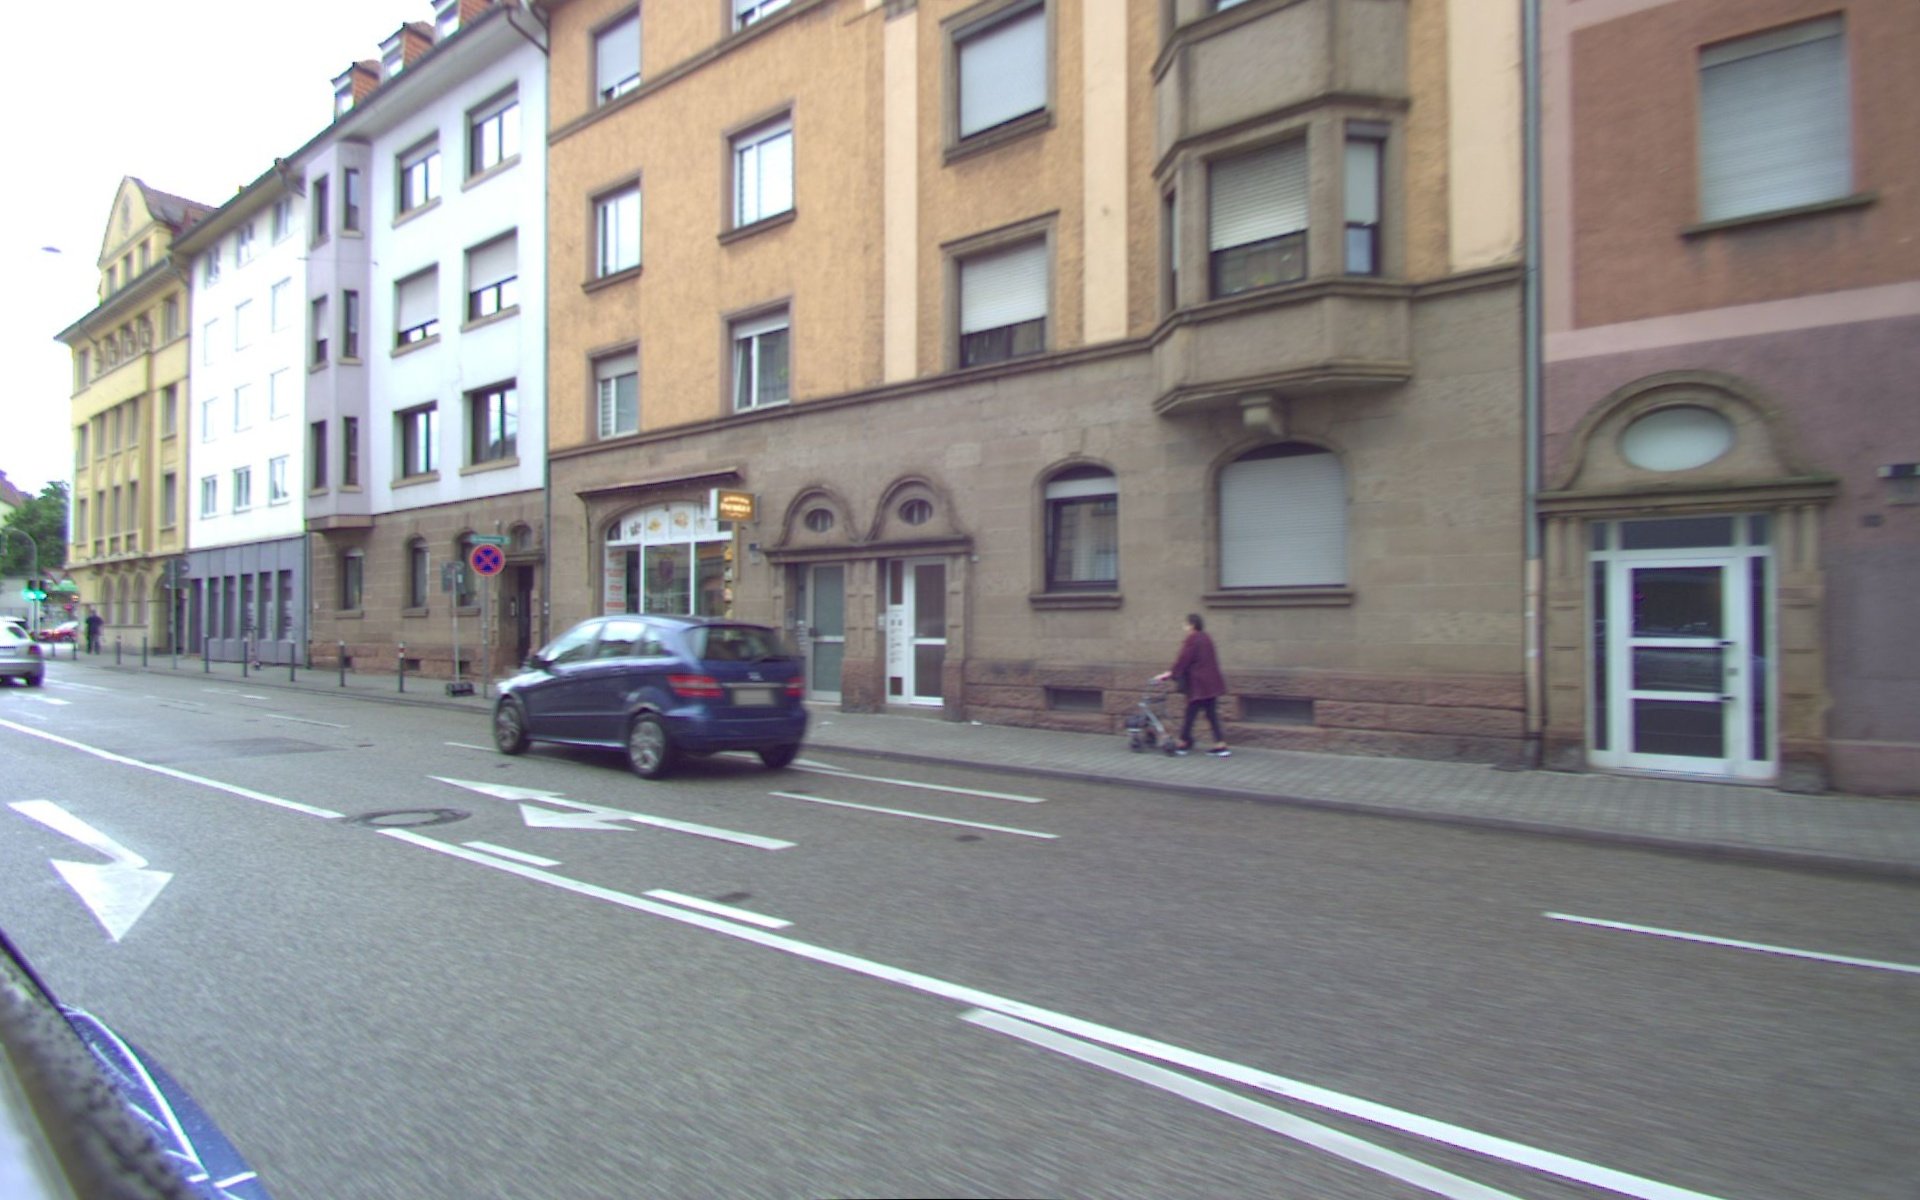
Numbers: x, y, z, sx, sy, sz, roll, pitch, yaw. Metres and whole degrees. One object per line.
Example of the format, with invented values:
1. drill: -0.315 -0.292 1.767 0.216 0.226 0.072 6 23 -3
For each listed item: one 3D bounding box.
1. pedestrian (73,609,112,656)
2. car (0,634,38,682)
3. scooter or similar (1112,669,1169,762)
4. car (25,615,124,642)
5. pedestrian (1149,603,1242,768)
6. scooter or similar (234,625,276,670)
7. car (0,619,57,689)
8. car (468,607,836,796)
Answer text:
1. pedestrian: -34.214 1.272 39.912 1.030 1.784 0.885 0 2 35
2. car: -35.059 2.055 36.568 4.334 1.607 1.961 0 -2 40
3. scooter or similar: 2.026 1.268 11.307 0.477 0.932 0.708 0 1 24
4. car: -53.227 1.712 60.901 2.008 1.529 4.014 0 -2 18
5. pedestrian: 2.584 0.885 11.048 0.848 1.691 0.838 0 1 24
6. scooter or similar: -20.054 1.339 28.769 1.575 1.222 0.457 0 2 36
7. car: -22.270 1.165 22.841 4.551 1.481 1.925 0 -2 37
8. car: -3.480 0.935 11.023 4.303 1.664 1.736 0 -2 40
